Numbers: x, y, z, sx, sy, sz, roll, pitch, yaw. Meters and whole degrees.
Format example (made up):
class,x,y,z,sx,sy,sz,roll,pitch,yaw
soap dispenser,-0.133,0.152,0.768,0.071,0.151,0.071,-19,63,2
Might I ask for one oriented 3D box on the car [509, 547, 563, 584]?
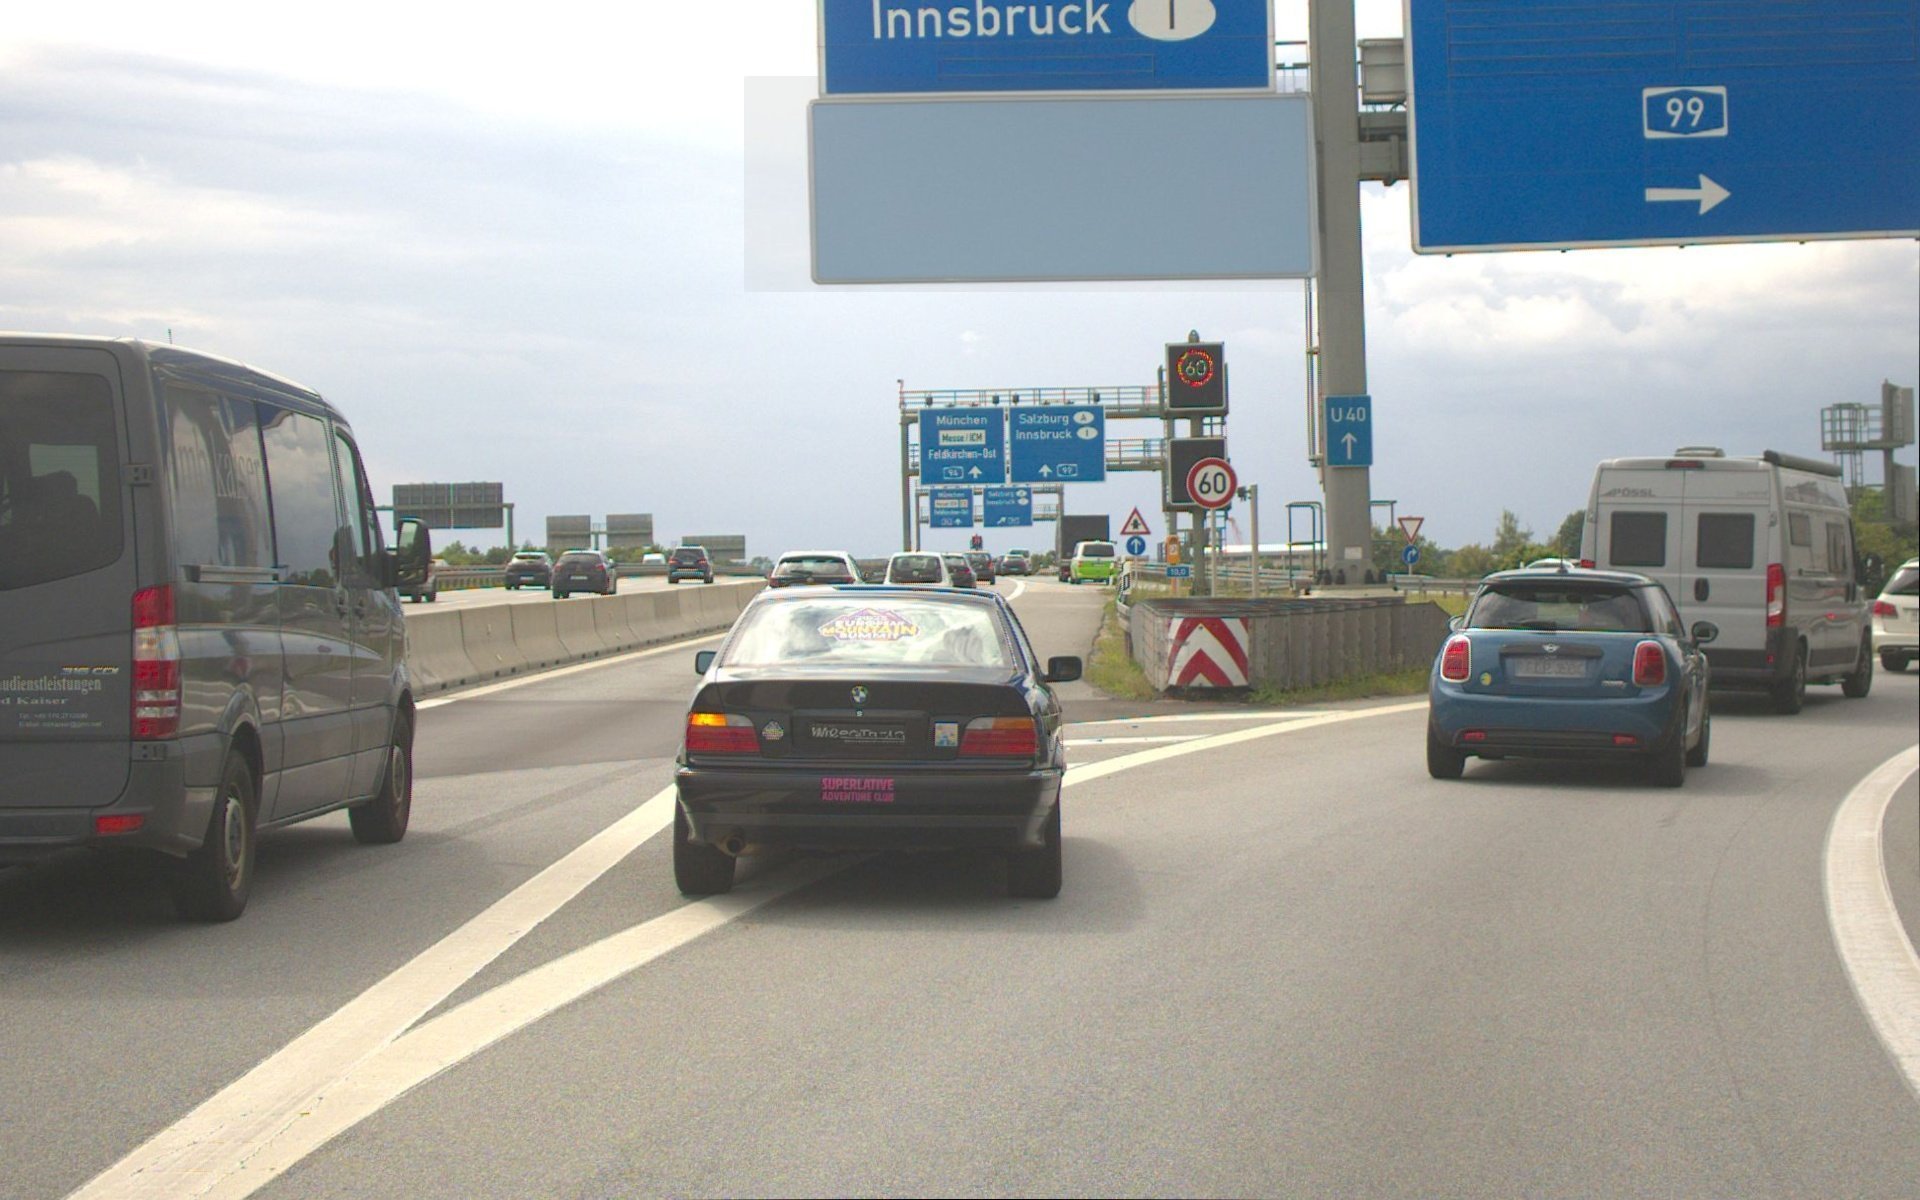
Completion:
class,x,y,z,sx,sy,sz,roll,pitch,yaw
car,-16.209,-1.338,131.575,1.552,1.371,4.000,0,1,0

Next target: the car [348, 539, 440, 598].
class,x,y,z,sx,sy,sz,roll,pitch,yaw
car,-16.031,-0.915,97.600,1.901,1.633,4.234,0,1,0

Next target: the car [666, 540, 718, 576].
class,x,y,z,sx,sy,sz,roll,pitch,yaw
car,-12.593,-2.000,161.969,1.993,1.678,4.866,0,1,1

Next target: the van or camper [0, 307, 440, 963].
class,x,y,z,sx,sy,sz,roll,pitch,yaw
van or camper,-3.852,0.082,15.468,1.999,2.362,6.126,0,1,1

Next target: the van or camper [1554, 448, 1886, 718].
class,x,y,z,sx,sy,sz,roll,pitch,yaw
van or camper,8.056,-0.217,35.911,2.296,2.559,6.153,0,1,23

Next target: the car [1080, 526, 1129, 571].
class,x,y,z,sx,sy,sz,roll,pitch,yaw
car,6.572,-2.329,156.386,1.993,2.007,4.000,0,1,-1

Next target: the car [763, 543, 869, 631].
class,x,y,z,sx,sy,sz,roll,pitch,yaw
car,-2.497,-0.254,60.448,1.701,1.503,3.840,0,1,0

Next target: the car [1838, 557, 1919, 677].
class,x,y,z,sx,sy,sz,roll,pitch,yaw
car,13.346,0.185,45.144,2.210,1.496,4.779,0,1,32

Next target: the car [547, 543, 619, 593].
class,x,y,z,sx,sy,sz,roll,pitch,yaw
car,-11.680,-1.007,106.752,1.774,1.525,4.000,-1,1,0

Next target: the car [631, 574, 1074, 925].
class,x,y,z,sx,sy,sz,roll,pitch,yaw
car,-0.386,0.587,15.924,1.782,1.373,4.137,0,1,1

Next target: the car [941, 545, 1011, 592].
class,x,y,z,sx,sy,sz,roll,pitch,yaw
car,0.528,-1.037,110.642,1.994,1.463,4.000,0,1,4

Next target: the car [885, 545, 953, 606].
class,x,y,z,sx,sy,sz,roll,pitch,yaw
car,-1.006,-0.629,85.927,1.585,1.478,3.535,0,1,1

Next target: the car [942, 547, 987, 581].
class,x,y,z,sx,sy,sz,roll,pitch,yaw
car,0.193,-1.583,149.486,1.866,1.419,4.000,0,1,1

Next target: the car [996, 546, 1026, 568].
class,x,y,z,sx,sy,sz,roll,pitch,yaw
car,3.346,-2.848,225.536,1.803,1.419,4.000,0,1,3

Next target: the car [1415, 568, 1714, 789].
class,x,y,z,sx,sy,sz,roll,pitch,yaw
car,4.330,0.491,24.255,1.730,1.414,3.663,1,1,15

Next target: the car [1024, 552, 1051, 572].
class,x,y,z,sx,sy,sz,roll,pitch,yaw
car,5.487,-2.692,243.517,1.803,1.419,4.000,0,1,3
